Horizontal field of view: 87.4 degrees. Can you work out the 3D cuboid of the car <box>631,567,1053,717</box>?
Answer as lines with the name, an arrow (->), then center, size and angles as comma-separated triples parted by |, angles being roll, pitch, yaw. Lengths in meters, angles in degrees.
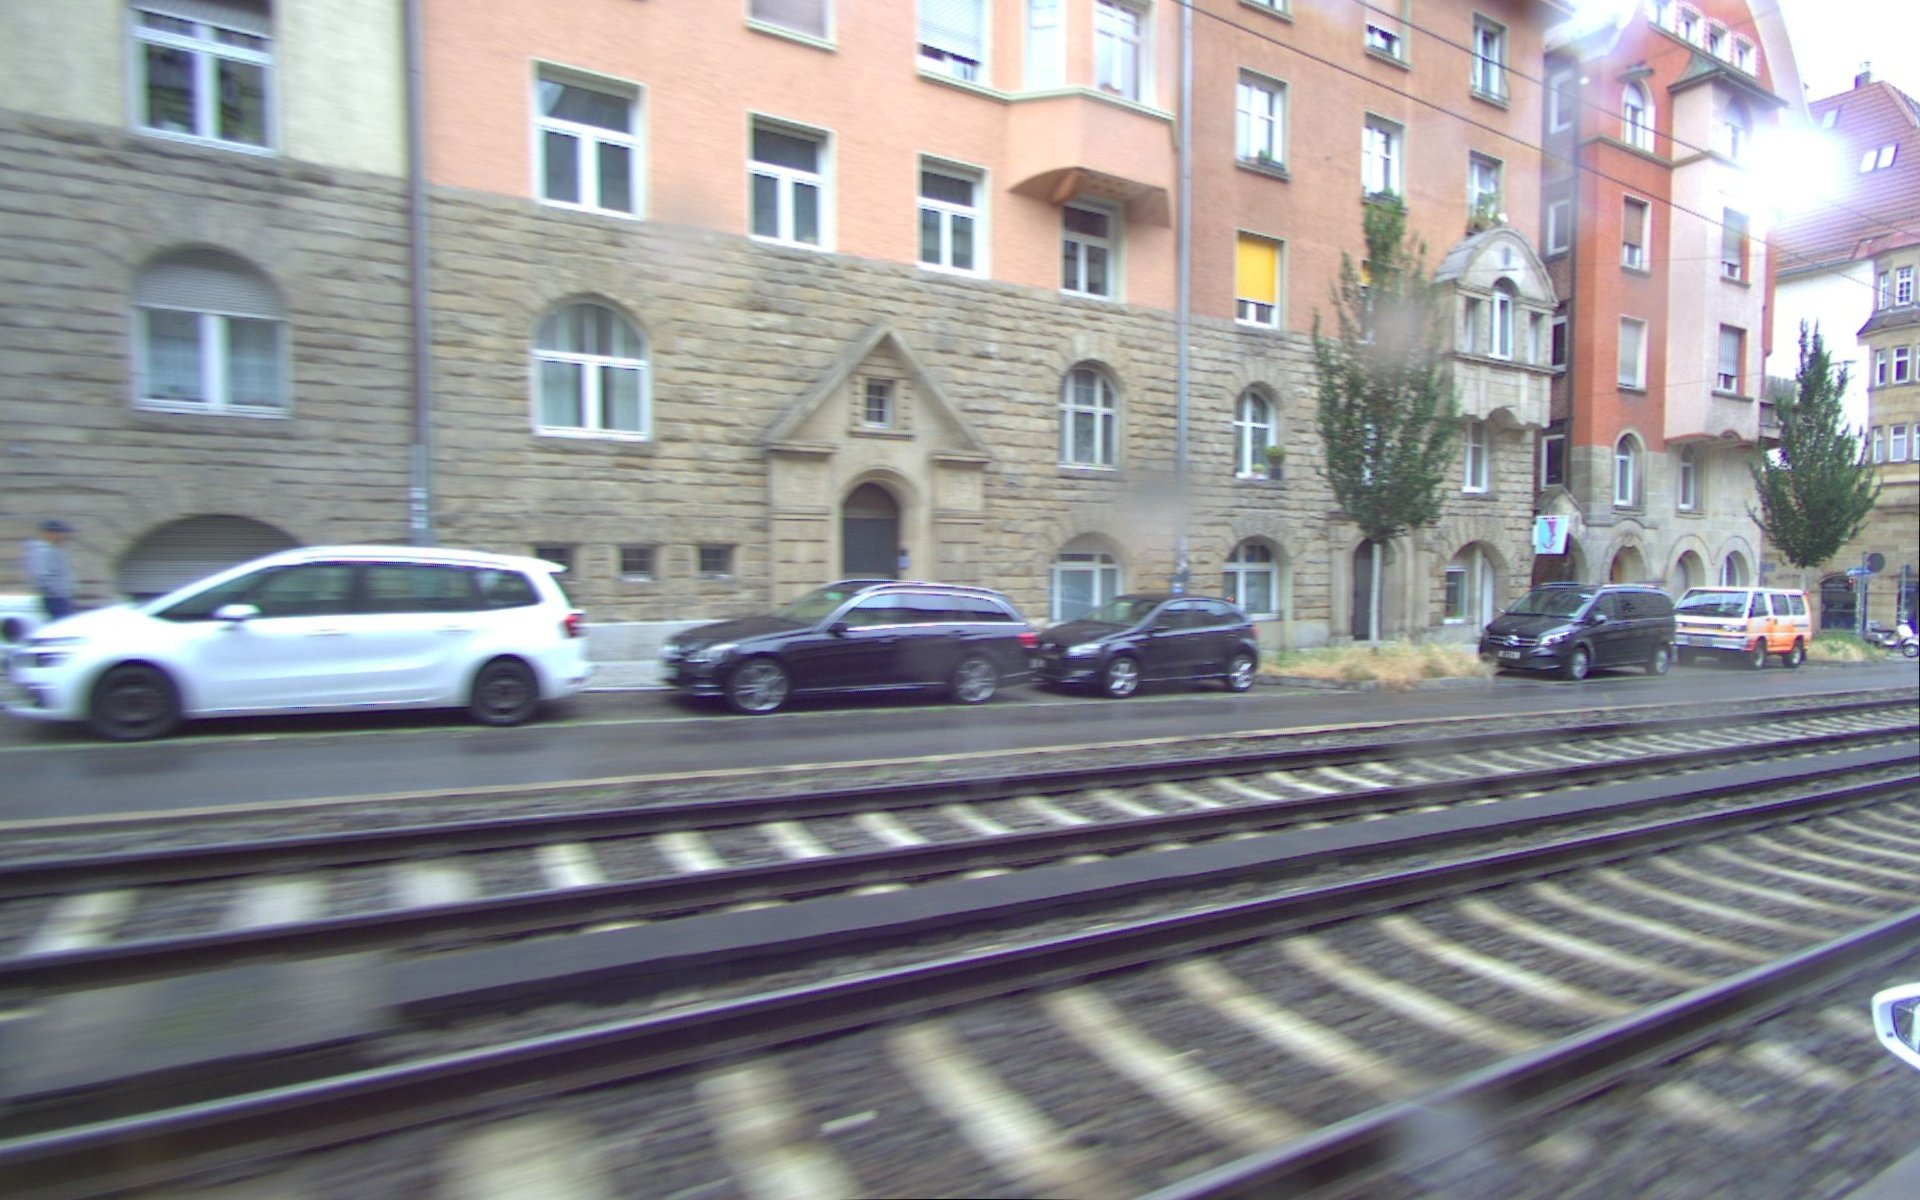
car -> -1.408, 0.442, 12.686 | 4.917, 1.530, 1.983 | 1, 3, -31

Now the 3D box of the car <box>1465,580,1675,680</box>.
car -> 12.989, 0.609, 21.318 | 4.647, 1.927, 1.982 | 1, 0, -32

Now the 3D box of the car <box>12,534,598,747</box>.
car -> -5.909, 0.305, 9.575 | 4.308, 1.611, 1.772 | 1, 2, -36

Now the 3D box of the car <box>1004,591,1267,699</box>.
car -> 2.704, 0.617, 15.226 | 3.842, 1.417, 1.632 | 1, 1, -33

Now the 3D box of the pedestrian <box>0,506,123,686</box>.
pedestrian -> -9.440, -0.054, 10.481 | 0.913, 1.777, 1.002 | 1, 2, -30

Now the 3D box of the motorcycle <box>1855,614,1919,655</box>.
motorcycle -> 28.406, 1.047, 30.775 | 0.608, 1.149, 1.441 | 2, 1, 0

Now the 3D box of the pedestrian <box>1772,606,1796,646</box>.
pedestrian -> 37.343, 1.177, 45.542 | 0.634, 1.756, 0.604 | 1, 1, -29

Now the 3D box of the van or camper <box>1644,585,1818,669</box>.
van or camper -> 19.597, 0.661, 25.489 | 4.647, 1.927, 1.982 | 1, 1, -32
